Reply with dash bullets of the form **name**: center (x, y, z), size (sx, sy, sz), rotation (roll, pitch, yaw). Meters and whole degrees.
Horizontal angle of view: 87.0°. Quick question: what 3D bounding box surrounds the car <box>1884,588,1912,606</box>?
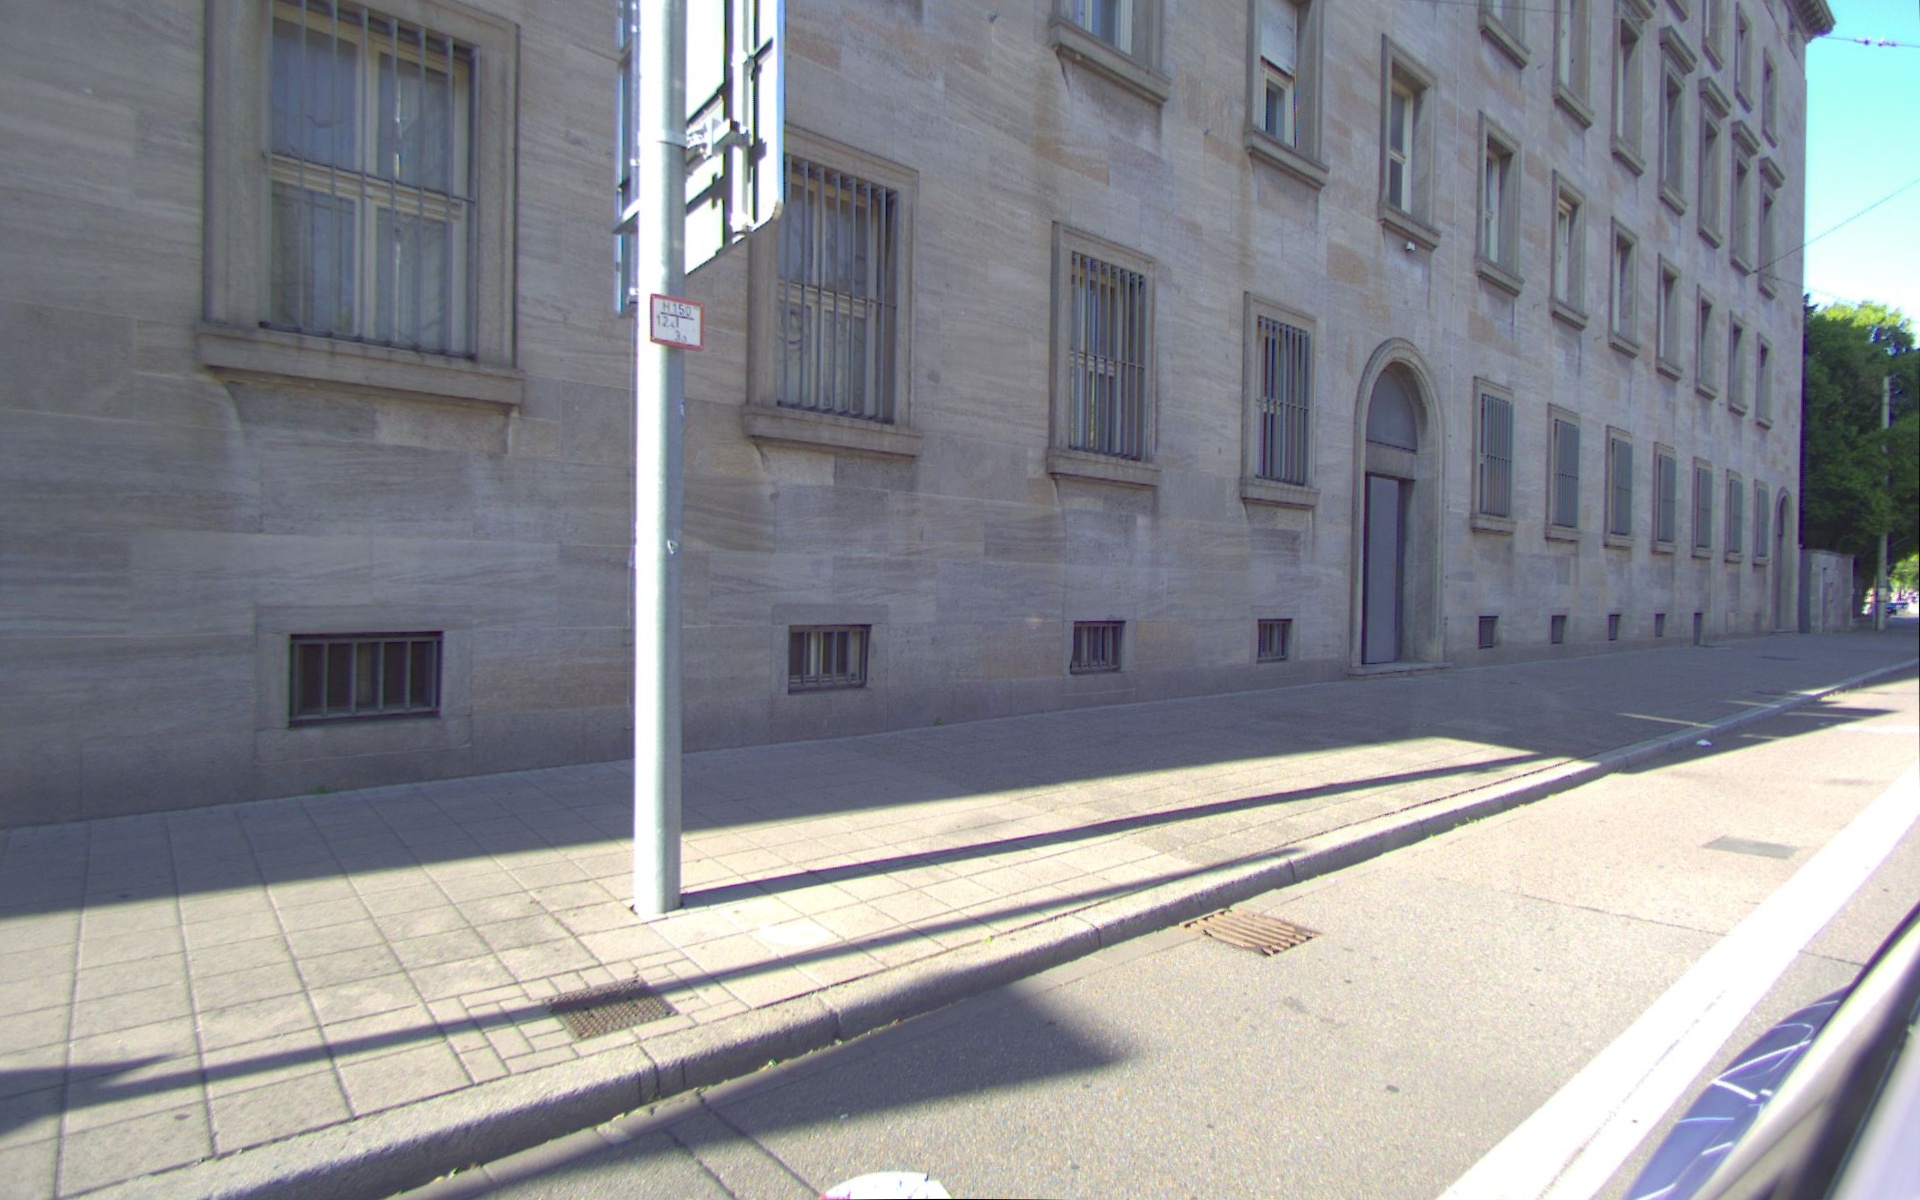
- **car**: center (109.405, -0.391, 118.090), size (1.990, 2.039, 3.945), rotation (2, 1, 38)
